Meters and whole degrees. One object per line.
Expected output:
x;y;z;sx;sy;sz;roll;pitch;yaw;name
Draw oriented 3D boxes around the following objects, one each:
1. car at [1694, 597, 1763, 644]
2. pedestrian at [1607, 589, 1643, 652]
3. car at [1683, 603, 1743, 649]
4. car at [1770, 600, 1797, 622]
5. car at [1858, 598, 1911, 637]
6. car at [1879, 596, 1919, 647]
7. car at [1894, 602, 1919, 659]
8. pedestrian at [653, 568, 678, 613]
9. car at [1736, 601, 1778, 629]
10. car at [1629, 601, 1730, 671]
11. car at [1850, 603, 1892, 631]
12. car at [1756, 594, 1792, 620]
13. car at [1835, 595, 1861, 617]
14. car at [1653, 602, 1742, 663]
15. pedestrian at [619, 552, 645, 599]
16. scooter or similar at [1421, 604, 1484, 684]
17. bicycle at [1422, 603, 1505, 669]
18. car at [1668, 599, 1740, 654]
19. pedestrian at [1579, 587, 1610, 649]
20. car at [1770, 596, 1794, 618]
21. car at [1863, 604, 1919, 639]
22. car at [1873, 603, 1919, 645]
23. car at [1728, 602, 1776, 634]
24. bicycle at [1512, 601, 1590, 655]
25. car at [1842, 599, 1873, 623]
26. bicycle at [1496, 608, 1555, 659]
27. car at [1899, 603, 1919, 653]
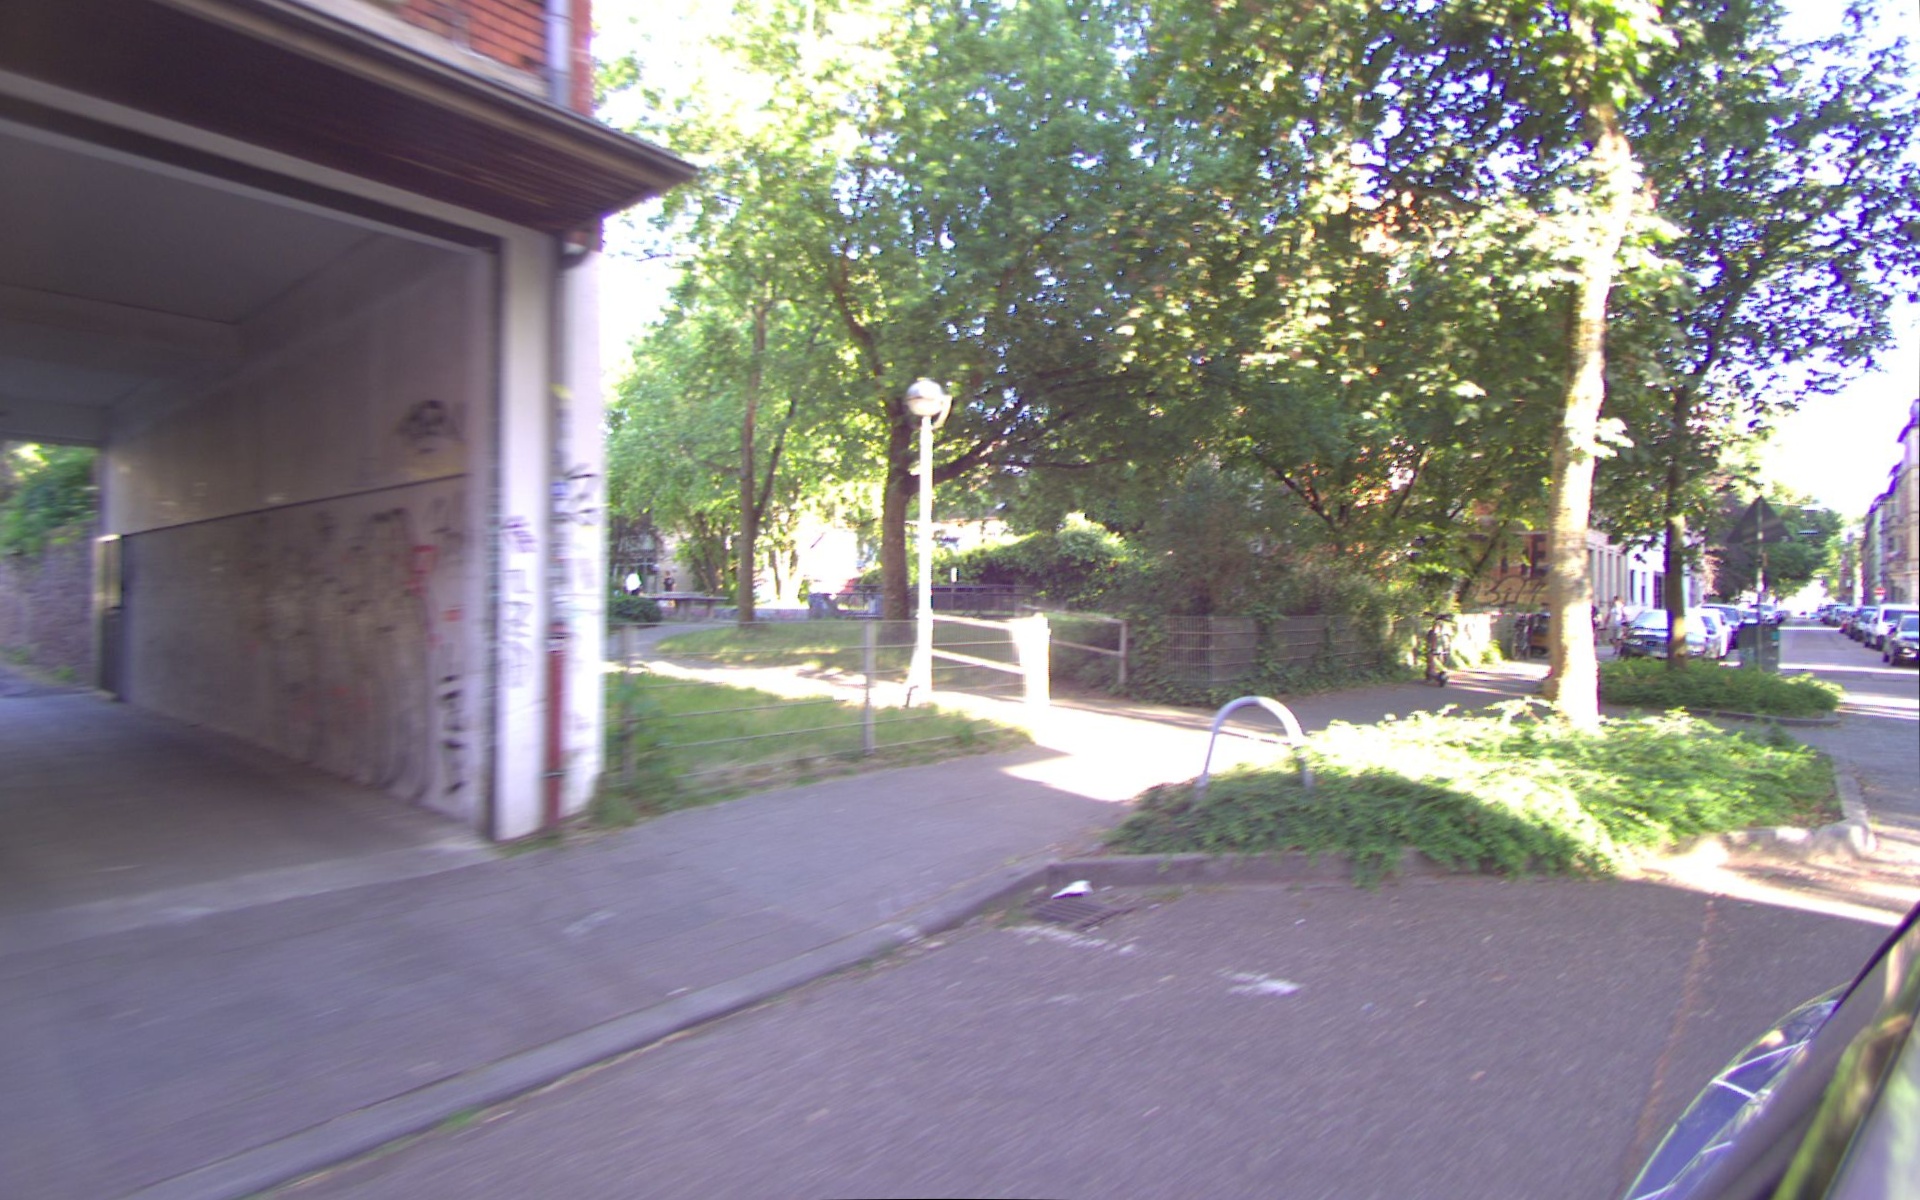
29.862;0.781;39.274;1.765;1.688;4.262;1;0;42;car
19.065;0.579;29.011;0.709;1.730;0.741;4;2;40;pedestrian
26.674;0.866;35.797;1.590;1.469;3.947;2;1;38;car
72.052;0.924;88.567;1.762;1.880;4.223;0;0;40;car
47.602;0.843;52.157;1.763;1.847;4.043;4;2;40;car
35.403;0.778;37.437;1.747;1.762;4.254;4;2;39;car
26.712;0.839;27.434;1.777;1.461;4.328;4;2;40;car
-13.526;-0.447;46.476;0.894;2.039;0.750;1;0;-2;pedestrian
46.861;0.853;59.471;1.762;1.552;4.043;3;2;40;car
17.625;0.808;24.715;1.718;1.512;4.351;2;1;39;car
57.232;1.041;63.647;1.763;1.552;4.043;4;2;40;car
67.514;0.578;83.904;1.862;2.005;4.409;4;2;44;car
88.734;0.606;101.136;1.763;2.112;4.201;4;2;40;car
20.716;0.842;28.352;1.657;1.512;4.289;2;1;41;car
-14.485;-1.097;44.677;0.894;2.039;0.750;1;0;-2;pedestrian
8.434;0.724;17.386;0.537;1.277;1.469;1;1;9;scooter or similar
10.452;0.714;20.959;0.846;1.284;2.650;1;0;42;bicycle
23.922;0.818;32.498;1.592;1.605;3.708;2;1;40;car
18.436;0.509;29.399;0.597;1.730;0.696;4;2;40;pedestrian
83.574;0.683;102.915;1.763;2.042;4.201;4;2;40;car
44.234;0.993;48.096;1.763;1.490;3.760;4;2;40;car
38.486;0.942;41.198;4.017;1.546;1.673;0;2;-44;car
41.221;0.902;52.641;1.763;1.536;4.043;4;2;40;car
15.763;0.713;26.966;1.291;1.318;2.290;3;2;43;bicycle
75.685;0.883;85.350;1.763;1.879;3.935;4;2;40;car
14.009;0.810;25.038;0.846;1.216;1.951;1;0;42;bicycle
30.570;0.887;31.690;1.593;1.468;3.432;4;2;42;car
